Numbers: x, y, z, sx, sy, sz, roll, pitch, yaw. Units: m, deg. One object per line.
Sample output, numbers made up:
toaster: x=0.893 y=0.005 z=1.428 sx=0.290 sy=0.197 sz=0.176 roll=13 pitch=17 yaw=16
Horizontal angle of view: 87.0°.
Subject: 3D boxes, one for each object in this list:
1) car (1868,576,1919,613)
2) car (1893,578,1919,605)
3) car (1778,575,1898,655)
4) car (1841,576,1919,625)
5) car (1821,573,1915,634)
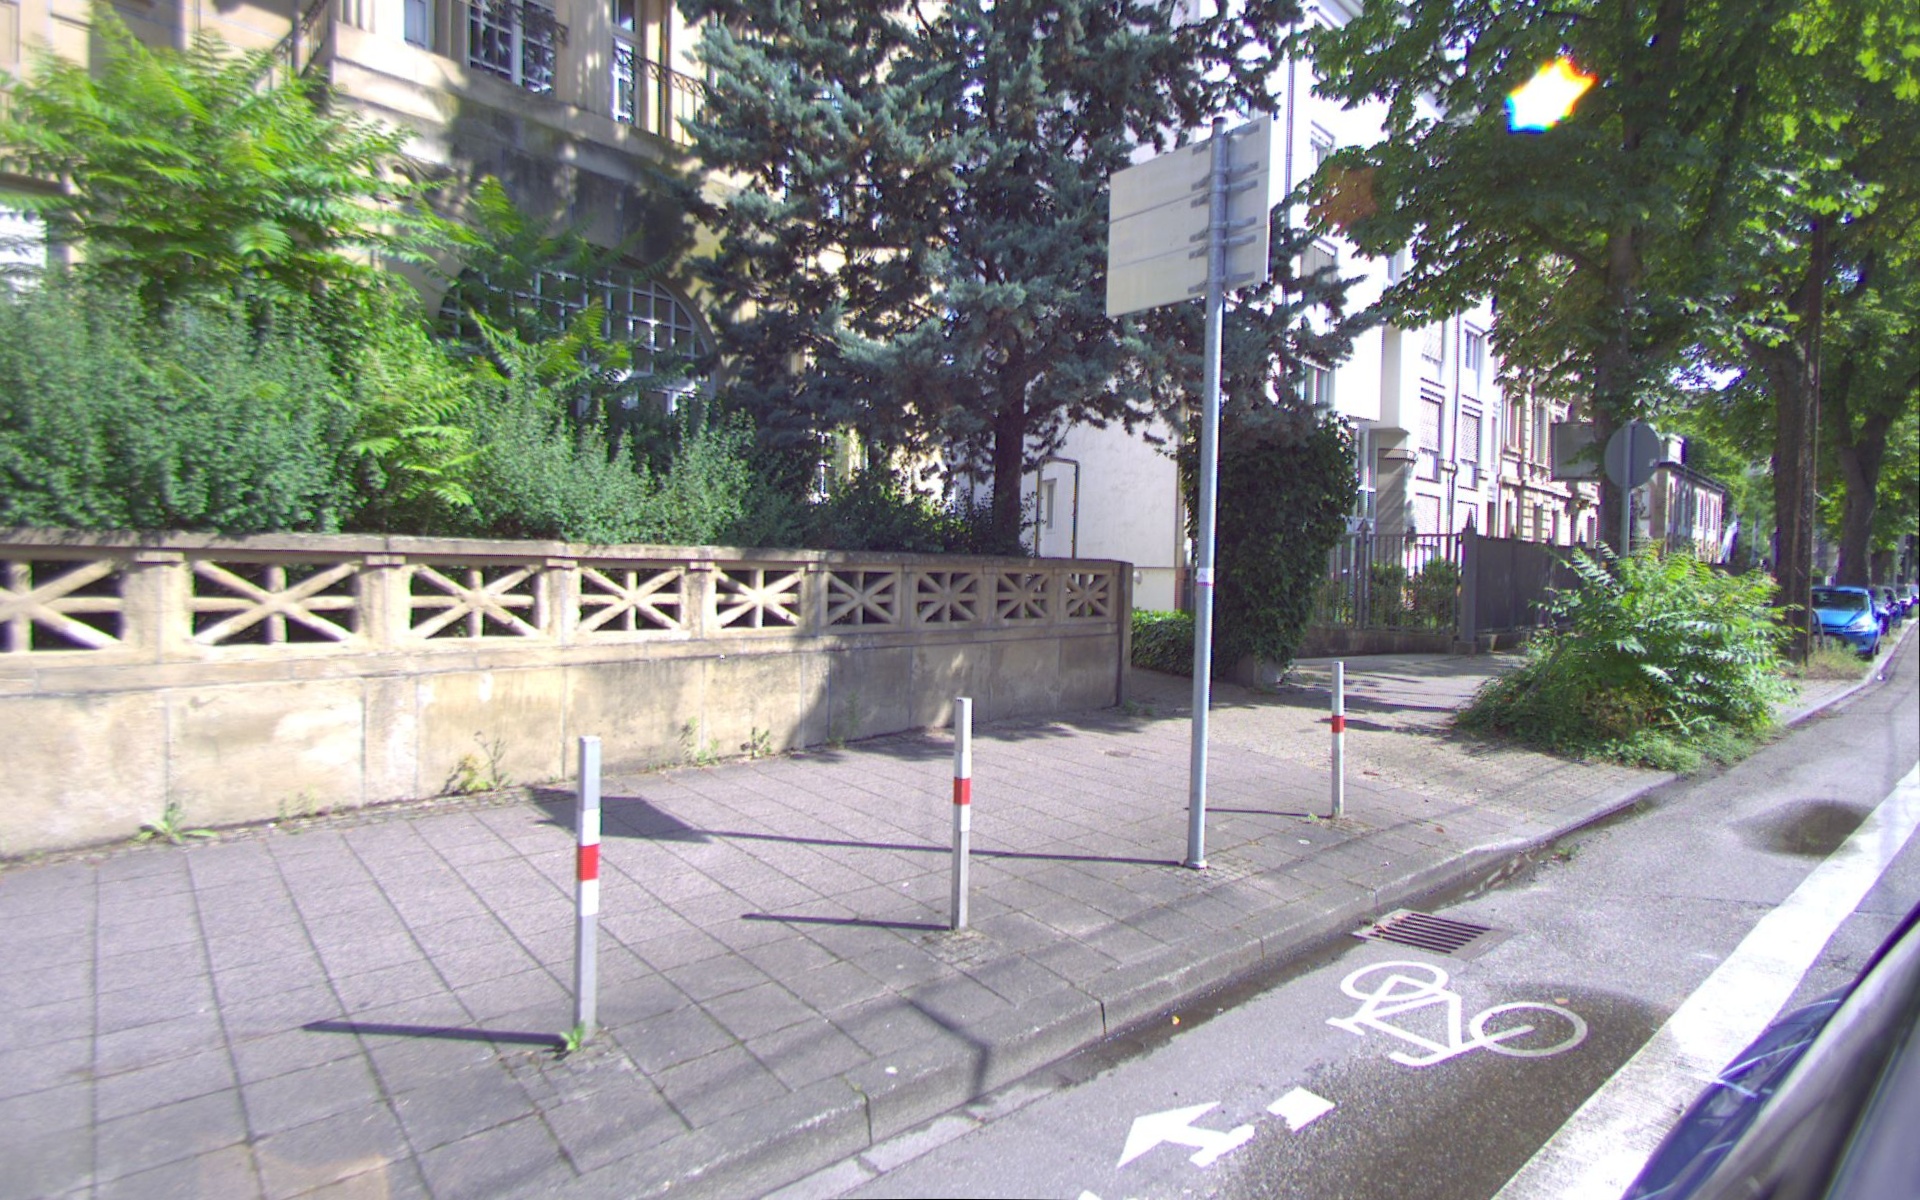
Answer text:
car: x=44.263 y=-0.284 z=47.769 sx=4.131 sy=1.549 sz=1.771 roll=-1 pitch=5 yaw=-45
car: x=60.146 y=-0.535 z=63.709 sx=4.131 sy=1.591 sz=1.771 roll=-1 pitch=5 yaw=-45
car: x=18.631 y=0.249 z=21.422 sx=1.639 sy=1.472 sz=3.640 roll=5 pitch=4 yaw=44
car: x=31.326 y=-0.035 z=34.383 sx=3.862 sy=1.469 sz=1.722 roll=-1 pitch=5 yaw=-45
car: x=25.736 y=0.056 z=28.660 sx=3.563 sy=1.526 sz=1.642 roll=-1 pitch=5 yaw=-44
